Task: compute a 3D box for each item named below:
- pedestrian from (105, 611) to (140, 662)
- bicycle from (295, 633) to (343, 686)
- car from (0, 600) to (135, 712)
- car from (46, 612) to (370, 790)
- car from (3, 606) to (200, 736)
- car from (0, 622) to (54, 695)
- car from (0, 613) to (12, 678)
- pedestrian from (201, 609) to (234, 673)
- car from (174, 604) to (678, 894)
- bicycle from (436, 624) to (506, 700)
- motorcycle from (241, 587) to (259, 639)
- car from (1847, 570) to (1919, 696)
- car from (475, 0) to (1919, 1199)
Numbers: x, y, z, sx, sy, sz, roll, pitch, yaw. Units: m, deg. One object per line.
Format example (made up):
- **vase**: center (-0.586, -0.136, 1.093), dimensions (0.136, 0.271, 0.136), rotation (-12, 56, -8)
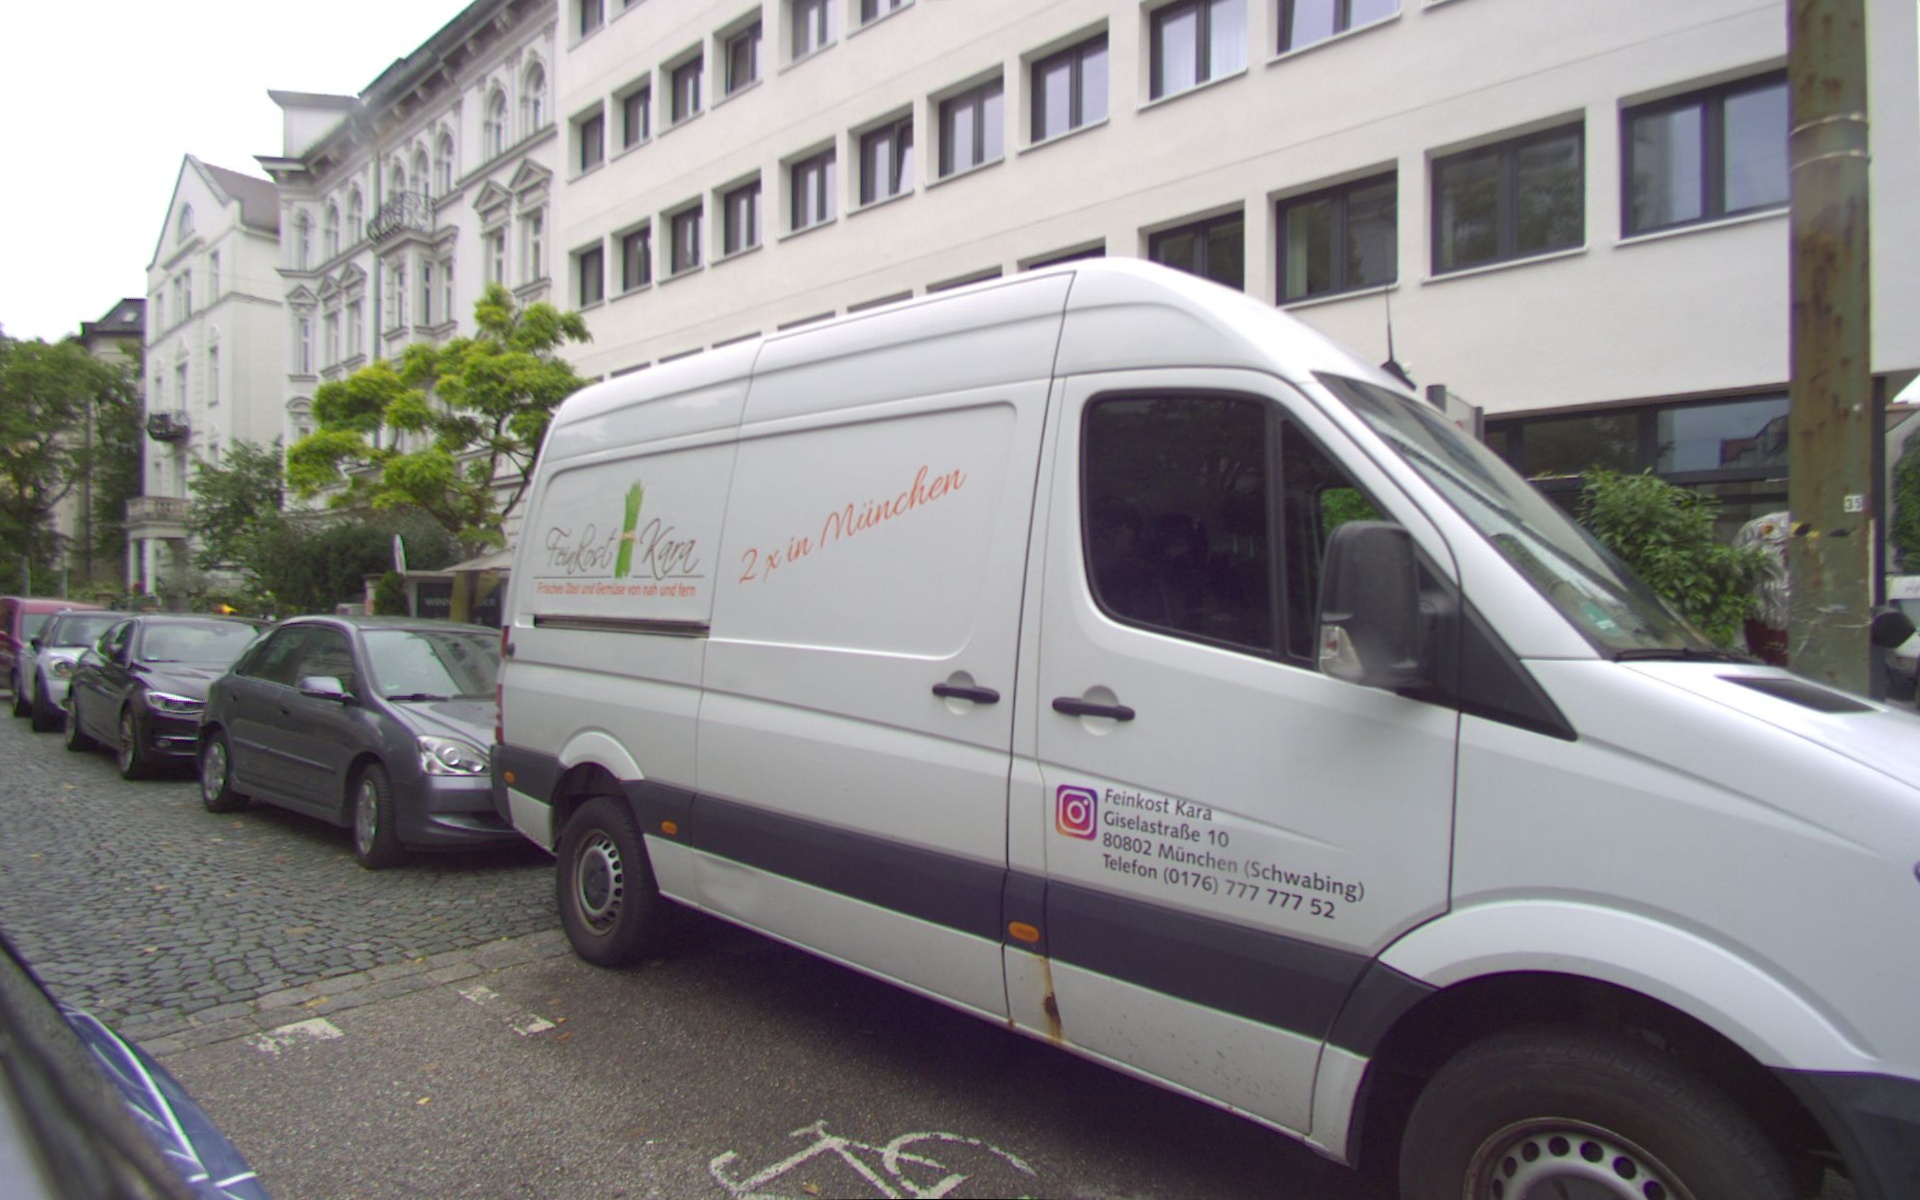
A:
- **pedestrian**: center (-27.004, 1.164, 32.640), dimensions (0.655, 1.640, 0.671), rotation (0, 0, -18)
- **bicycle**: center (-13.626, 1.245, 21.506), dimensions (1.682, 1.087, 0.255), rotation (-2, -1, 36)
- **car**: center (-15.872, 0.896, 17.524), dimensions (3.895, 1.736, 1.700), rotation (0, -2, 40)
- **car**: center (-7.934, 0.902, 10.510), dimensions (4.470, 1.476, 1.708), rotation (-1, -3, 41)
- **car**: center (-11.794, 0.850, 13.818), dimensions (3.778, 1.515, 1.674), rotation (0, 0, 44)
- **car**: center (-20.568, 1.190, 21.311), dimensions (3.811, 1.404, 1.615), rotation (0, 0, 38)
- **car**: center (-25.388, 1.111, 25.464), dimensions (4.063, 1.584, 1.673), rotation (0, 0, 38)
- **pedestrian**: center (-19.679, 1.071, 26.826), dimensions (0.569, 1.659, 0.822), rotation (2, -3, -43)
- **car**: center (-3.882, 0.777, 7.097), dimensions (3.976, 1.494, 1.646), rotation (0, 0, 38)
- **bicycle**: center (-8.110, 0.996, 16.752), dimensions (1.910, 1.183, 0.356), rotation (0, 0, 42)
- **motorcycle**: center (-16.688, 0.291, 23.785), dimensions (0.326, 1.188, 1.629), rotation (0, 0, -35)
- **car**: center (20.744, 0.629, 21.570), dimensions (1.960, 2.406, 6.409), rotation (0, 0, 34)
- **car**: center (0.482, 0.193, 3.750), dimensions (5.792, 2.594, 1.956), rotation (0, -3, 42)
